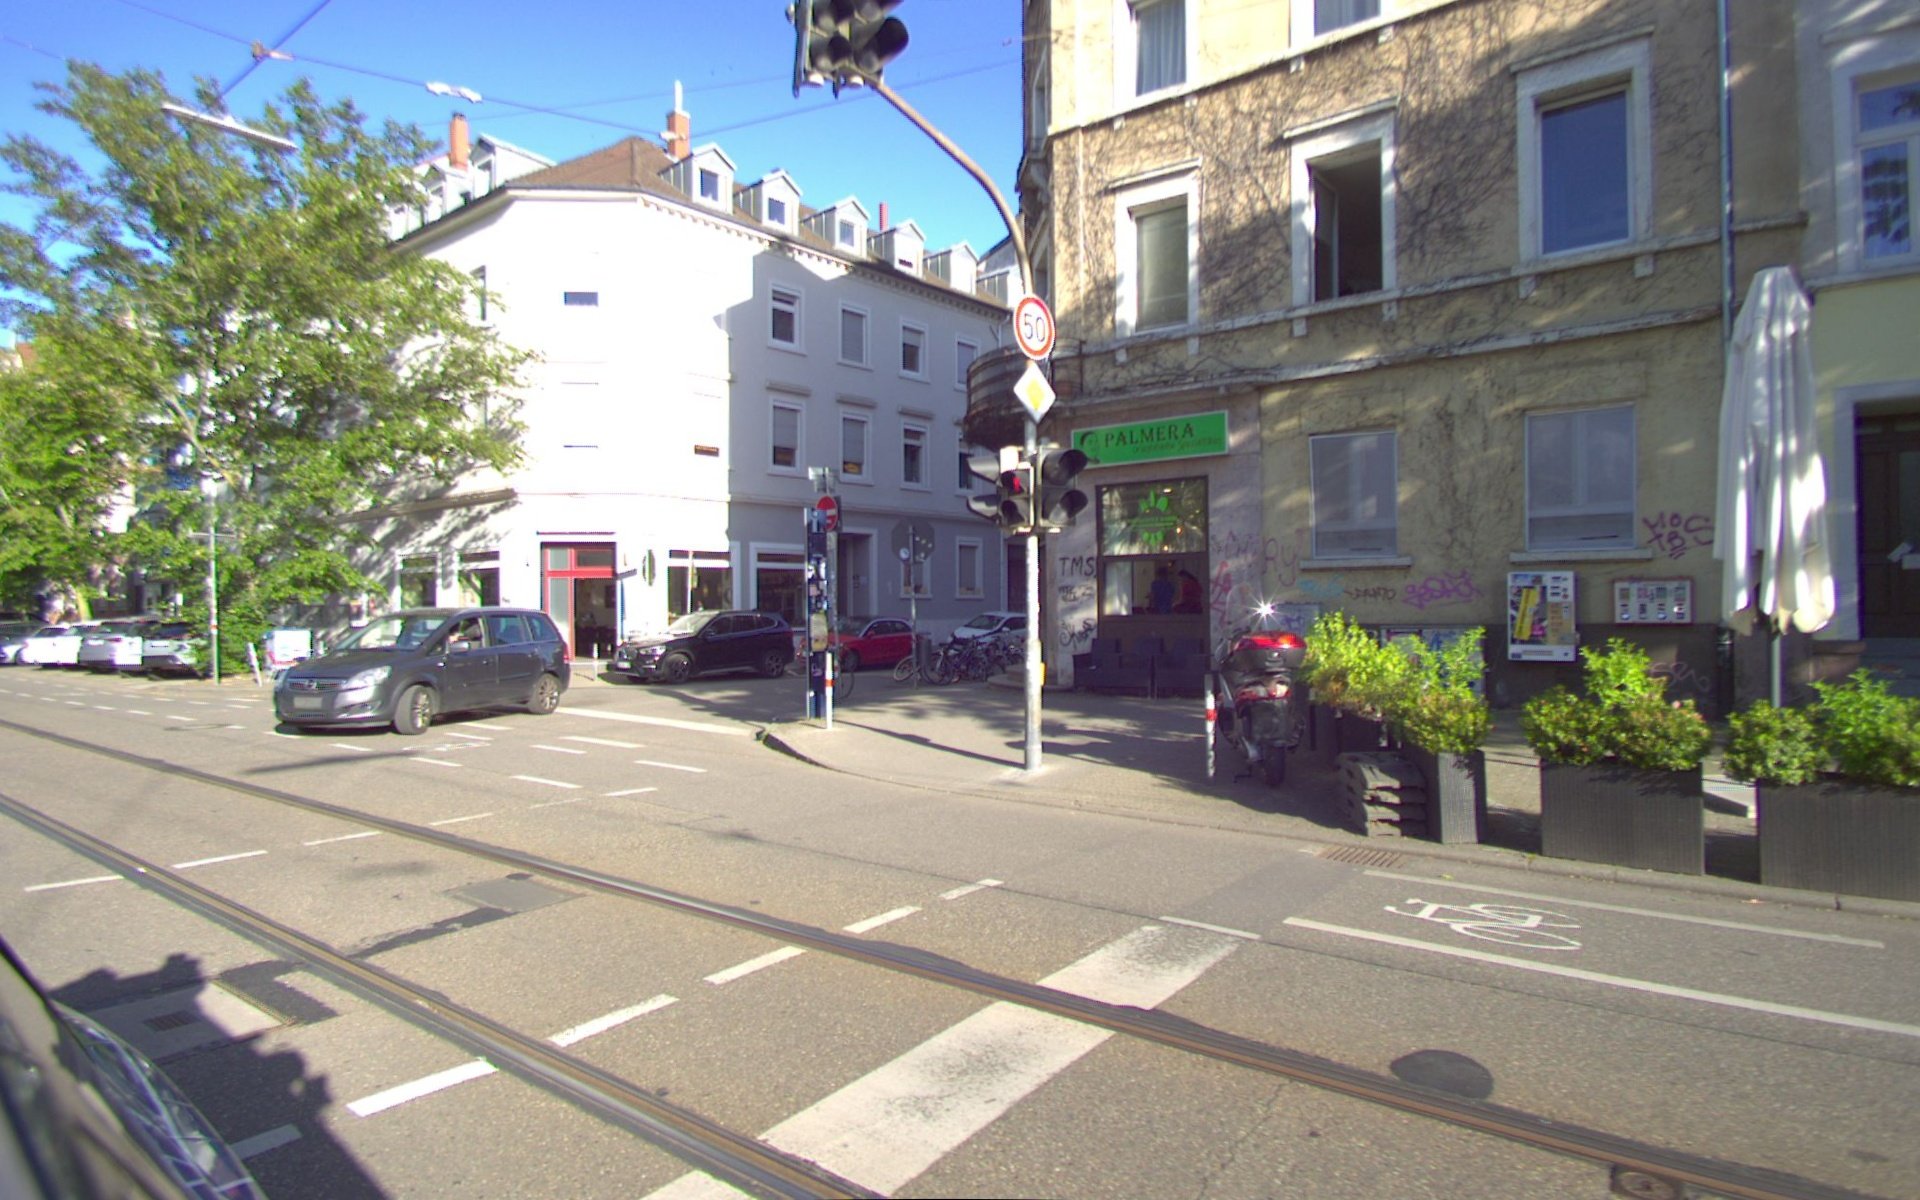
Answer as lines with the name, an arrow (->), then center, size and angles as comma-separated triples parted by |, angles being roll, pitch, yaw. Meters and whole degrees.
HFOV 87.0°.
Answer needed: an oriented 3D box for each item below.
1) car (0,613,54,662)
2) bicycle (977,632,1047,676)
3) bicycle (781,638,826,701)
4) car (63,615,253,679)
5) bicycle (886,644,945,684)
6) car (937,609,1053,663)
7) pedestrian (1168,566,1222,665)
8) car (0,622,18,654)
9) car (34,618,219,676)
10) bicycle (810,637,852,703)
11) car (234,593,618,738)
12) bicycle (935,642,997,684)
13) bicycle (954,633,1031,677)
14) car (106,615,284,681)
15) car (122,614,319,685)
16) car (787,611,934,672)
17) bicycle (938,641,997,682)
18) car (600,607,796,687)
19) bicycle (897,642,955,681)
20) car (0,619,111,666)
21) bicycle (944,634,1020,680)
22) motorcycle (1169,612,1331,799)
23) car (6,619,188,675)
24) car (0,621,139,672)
car -> -40.026, 1.567, 41.519 | 1.865, 1.901, 4.131 | 0, 1, 4
bicycle -> 1.190, 1.230, 23.502 | 1.770, 0.969, 0.437 | -1, -1, 43
bicycle -> -2.717, 1.203, 17.693 | 0.452, 1.054, 1.686 | -1, -3, 3
car -> -22.871, 1.287, 29.059 | 1.606, 1.567, 4.113 | 0, 1, 17
bicycle -> -0.971, 1.369, 21.861 | 1.309, 0.824, 0.367 | -1, -1, 34
car -> 1.151, 1.115, 31.875 | 1.641, 1.599, 3.736 | -3, -3, 42
pedestrian -> 4.257, 0.286, 18.343 | 0.683, 1.754, 0.649 | 0, -1, -21
car -> -47.926, 1.877, 48.338 | 1.617, 1.499, 4.085 | 0, 1, 36
car -> -25.274, 1.363, 30.865 | 1.610, 1.499, 4.104 | 0, 1, 23
bicycle -> -2.232, 1.190, 17.613 | 0.445, 1.054, 1.662 | -1, -1, 3
car -> -7.214, 0.847, 14.445 | 1.784, 1.675, 5.156 | -2, -2, 16
bicycle -> 0.119, 1.361, 22.012 | 1.387, 0.824, 0.357 | 1, 0, 34
bicycle -> 0.730, 1.237, 22.994 | 1.764, 0.969, 0.476 | -1, -1, 32
car -> -20.965, 1.262, 27.962 | 1.599, 1.567, 4.131 | 0, 1, 4
car -> -19.002, 1.203, 26.245 | 1.604, 1.567, 4.120 | 0, 1, 12
car -> -2.643, 1.108, 27.646 | 1.650, 1.514, 3.900 | -3, -3, 42
bicycle -> 0.150, 1.348, 22.375 | 1.309, 0.824, 0.377 | 1, 0, 34
car -> -6.008, 1.041, 23.559 | 1.765, 1.675, 4.139 | -3, -3, 42
bicycle -> -0.745, 1.338, 22.158 | 1.309, 0.824, 0.351 | -1, -1, 35
car -> -32.943, 1.483, 35.846 | 1.611, 1.499, 4.099 | 0, 1, 26
bicycle -> 0.481, 1.262, 22.678 | 1.767, 0.969, 0.422 | -1, -1, 37
motorcycle -> 2.502, 0.836, 9.084 | 0.988, 1.361, 2.417 | 0, 1, 6
car -> -27.119, 1.438, 31.970 | 1.609, 1.499, 4.105 | 0, 1, 22
car -> -30.777, 1.546, 34.443 | 1.614, 1.499, 4.092 | 0, 1, 31
